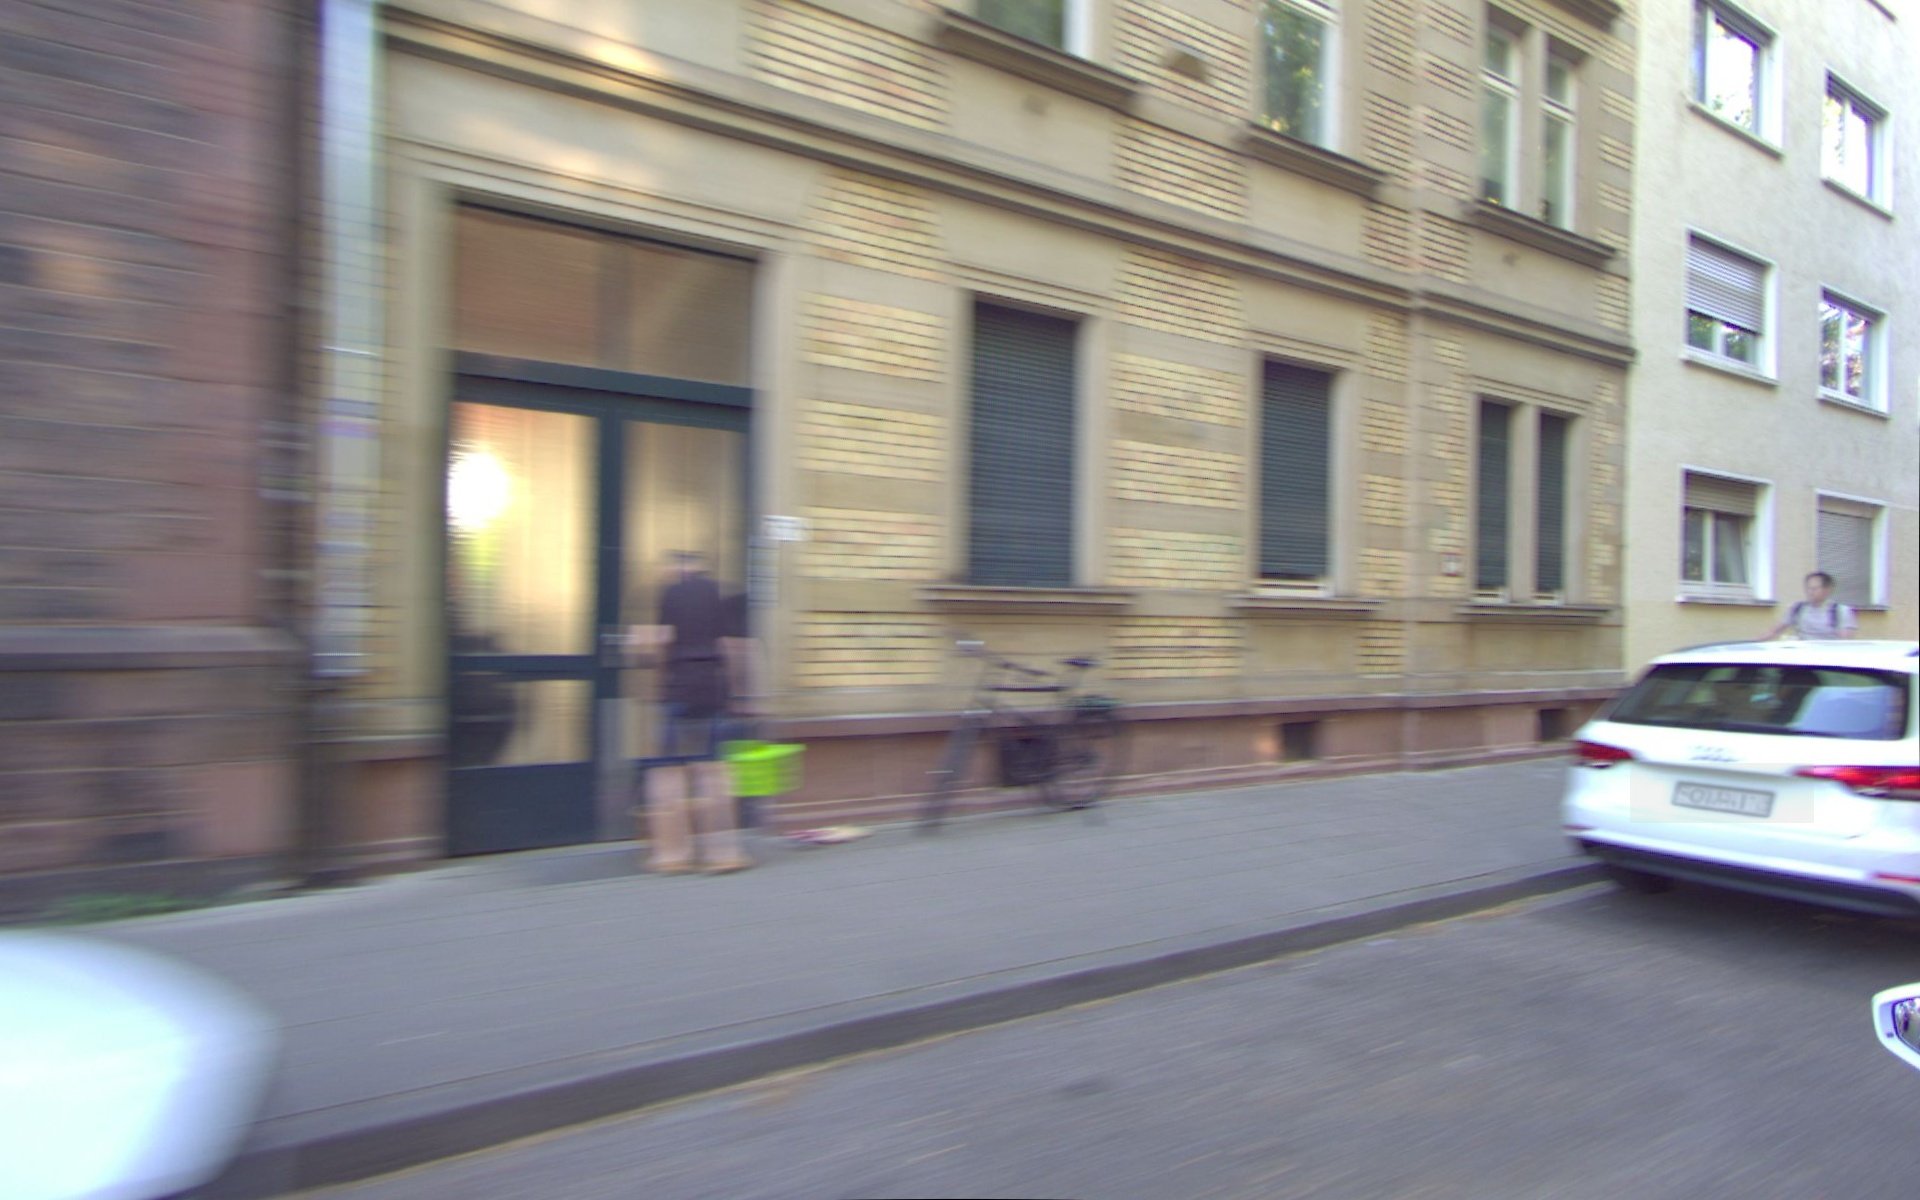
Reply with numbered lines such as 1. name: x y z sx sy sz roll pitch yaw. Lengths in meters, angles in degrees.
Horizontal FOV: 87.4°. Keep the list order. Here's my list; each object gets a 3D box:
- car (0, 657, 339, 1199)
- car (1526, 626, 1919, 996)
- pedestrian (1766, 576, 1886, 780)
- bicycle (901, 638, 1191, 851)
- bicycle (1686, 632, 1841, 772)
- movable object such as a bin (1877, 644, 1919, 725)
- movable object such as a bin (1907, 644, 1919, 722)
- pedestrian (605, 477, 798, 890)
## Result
1. car: -2.864 0.775 0.938 3.757 1.435 1.701 2 -3 -30
2. car: 5.398 0.912 5.784 4.469 1.475 1.723 1 -3 -31
3. pedestrian: 8.203 0.711 9.509 1.103 1.827 0.485 1 2 -32
4. bicycle: 0.580 0.848 6.399 1.823 1.163 0.567 1 2 -31
5. bicycle: 8.033 0.967 10.020 1.823 1.260 0.567 1 2 -31
6. movable object such as a bin: 13.497 1.186 14.031 0.666 1.102 0.833 2 -1 -27
7. movable object such as a bin: 14.204 1.206 14.347 0.657 1.102 0.798 2 -1 -26
8. pedestrian: -1.368 0.399 5.280 0.755 1.954 0.761 1 0 -34
